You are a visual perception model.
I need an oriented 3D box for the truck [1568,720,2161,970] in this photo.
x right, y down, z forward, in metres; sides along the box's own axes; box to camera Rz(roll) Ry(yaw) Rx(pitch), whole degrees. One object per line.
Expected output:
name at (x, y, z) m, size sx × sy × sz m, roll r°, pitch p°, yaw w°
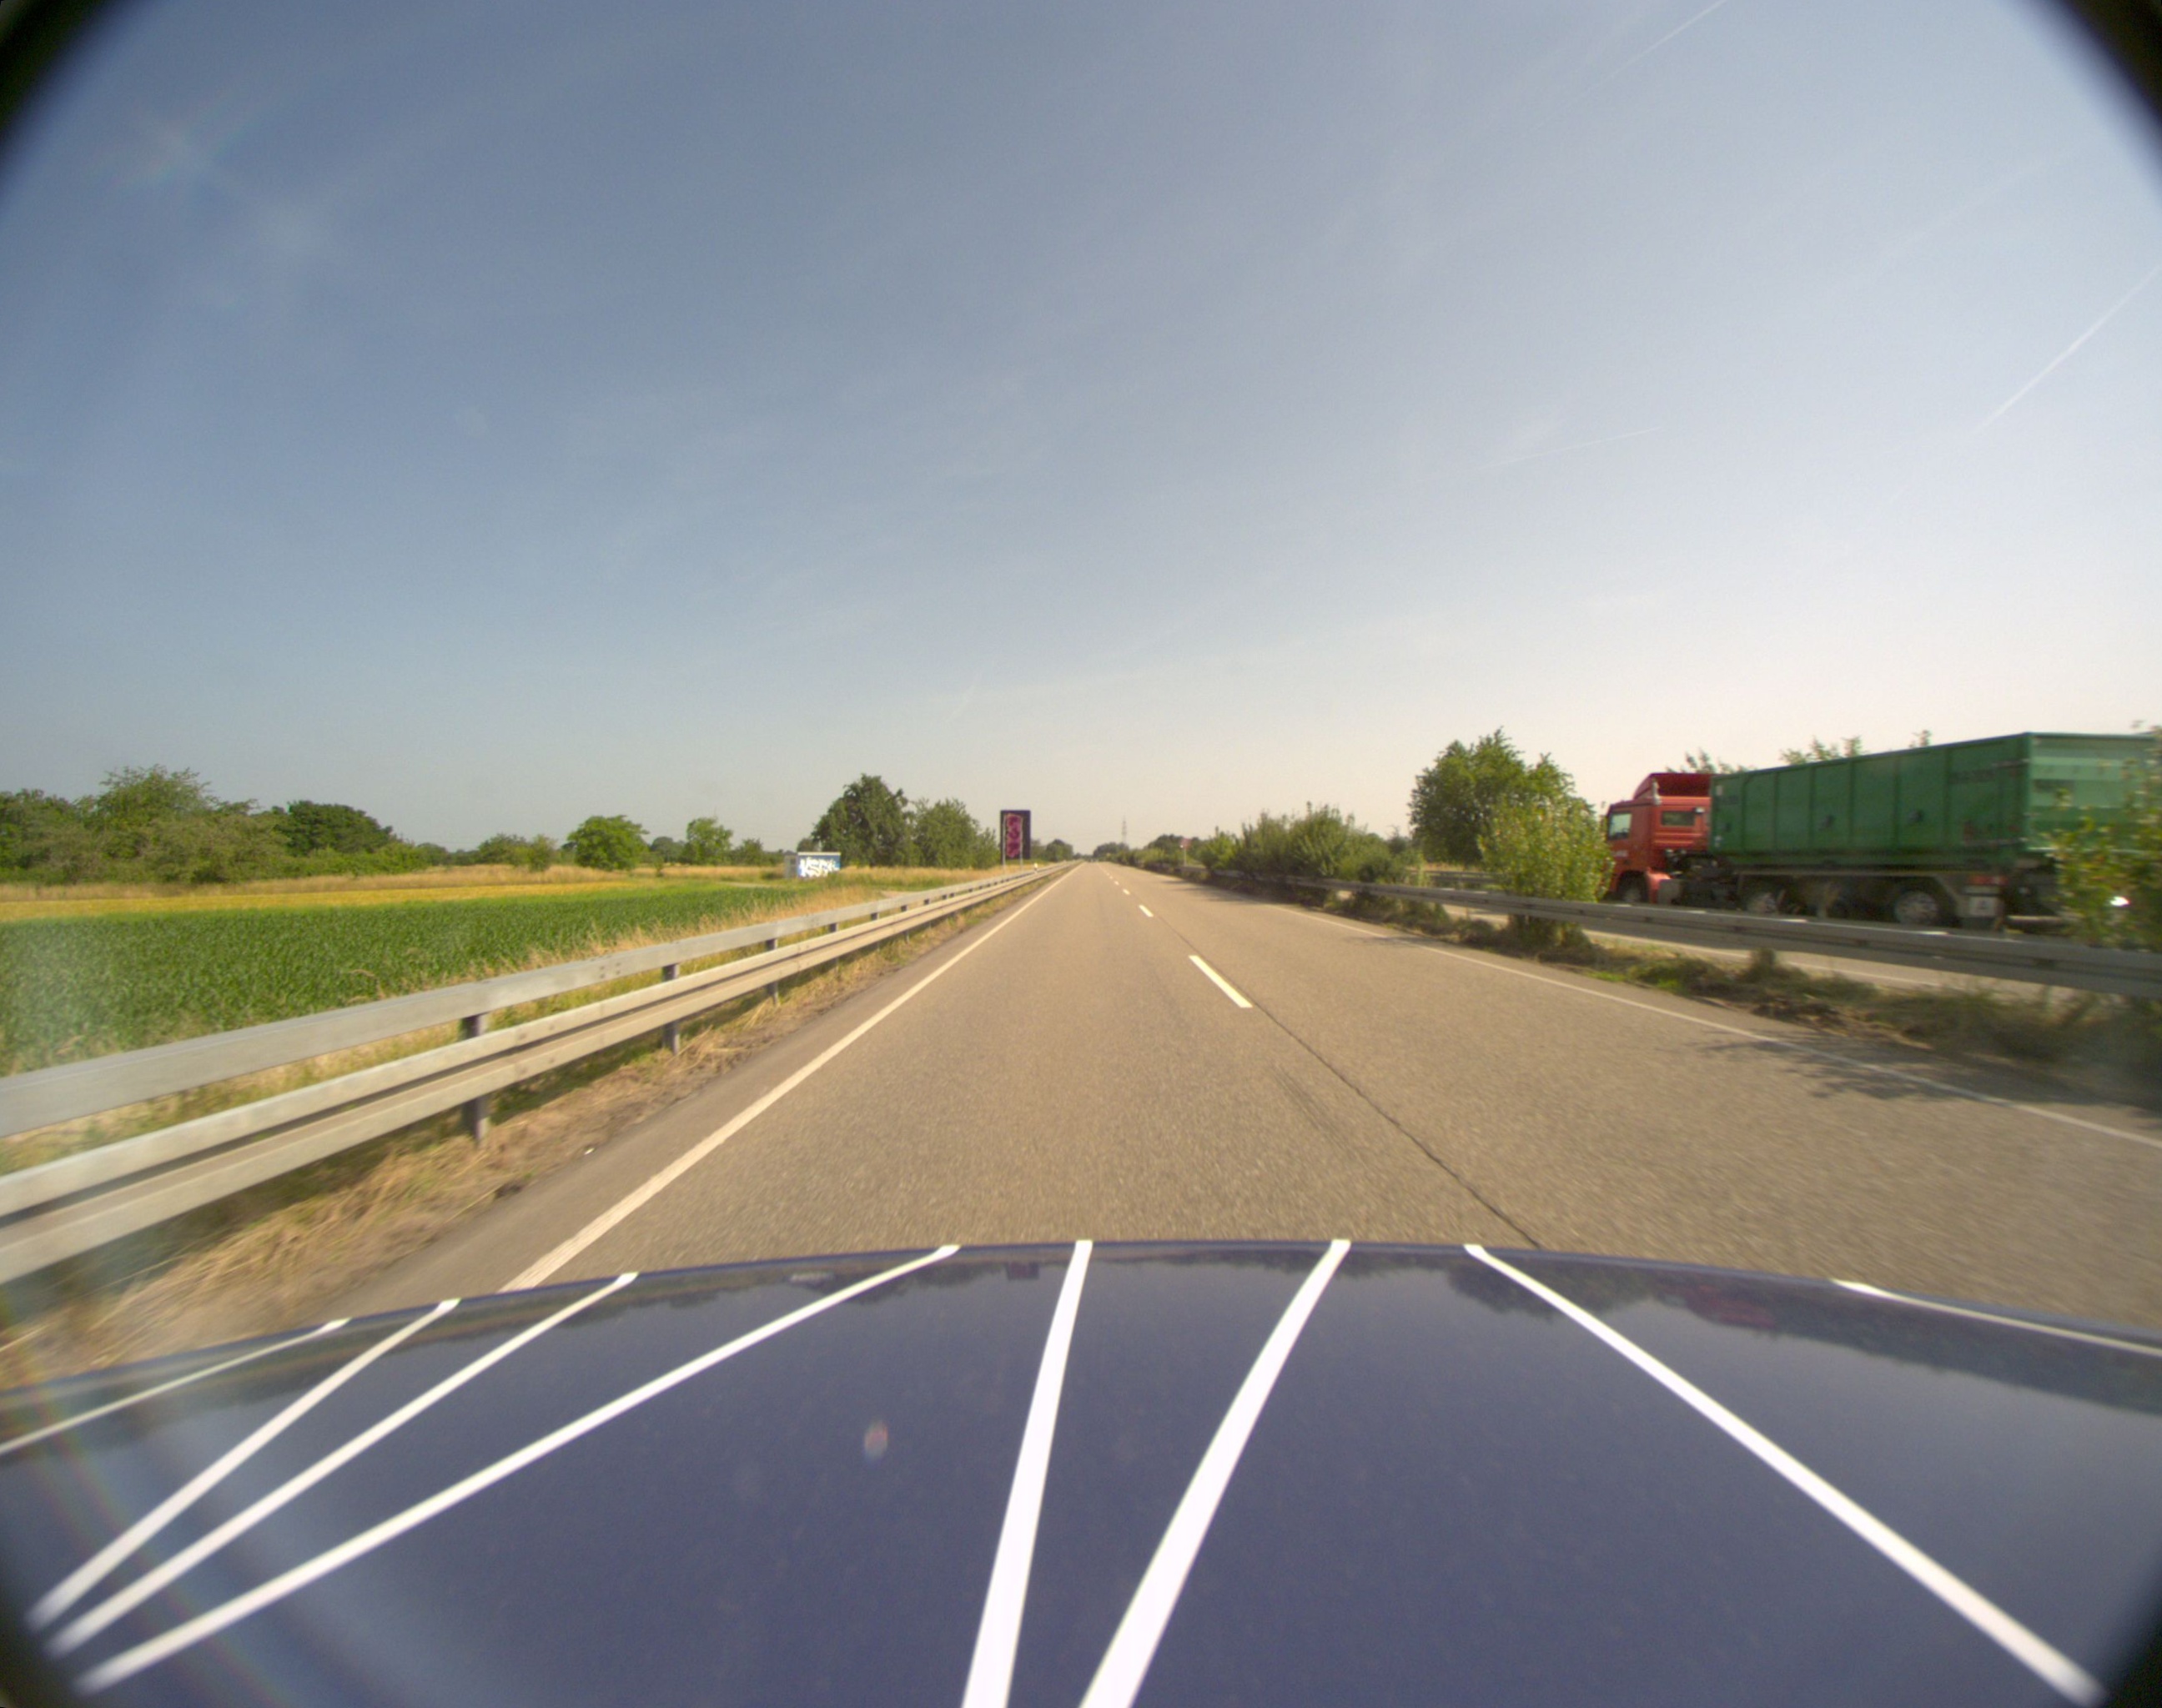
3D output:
truck at (14.861, -0.153, 16.084) m, size 2.609 × 3.568 × 10.385 m, roll -1°, pitch 0°, yaw 1°
